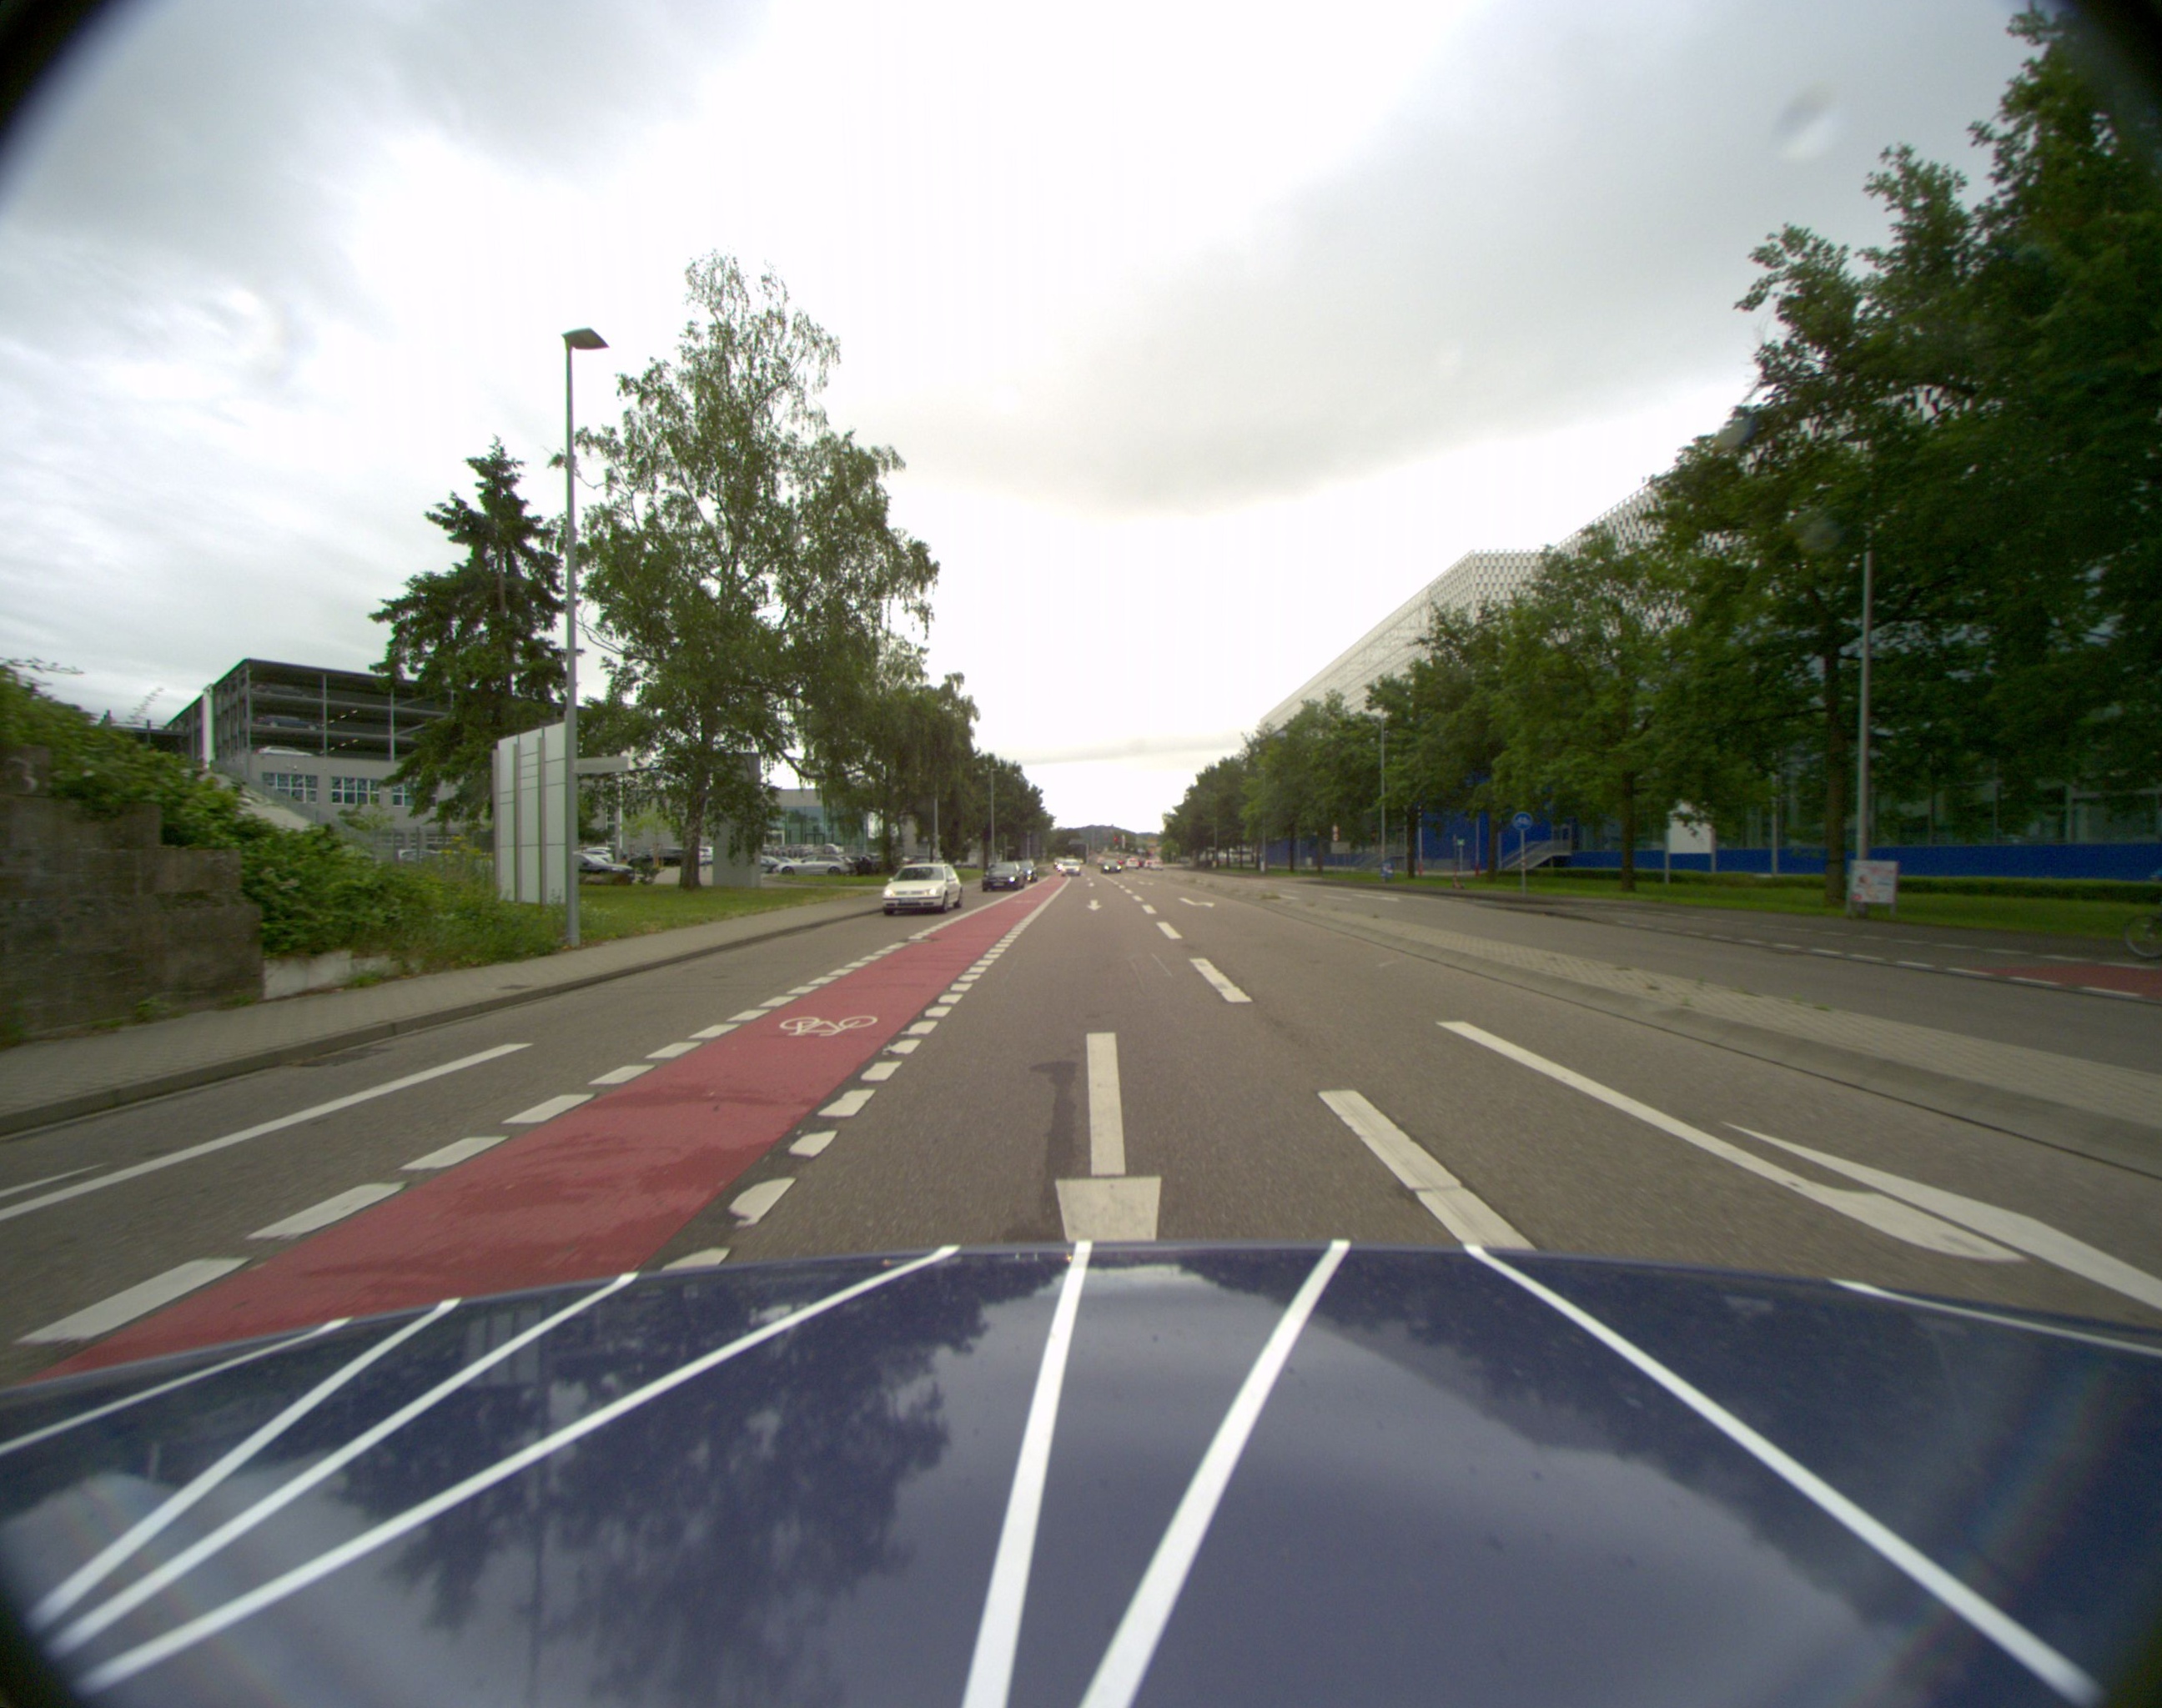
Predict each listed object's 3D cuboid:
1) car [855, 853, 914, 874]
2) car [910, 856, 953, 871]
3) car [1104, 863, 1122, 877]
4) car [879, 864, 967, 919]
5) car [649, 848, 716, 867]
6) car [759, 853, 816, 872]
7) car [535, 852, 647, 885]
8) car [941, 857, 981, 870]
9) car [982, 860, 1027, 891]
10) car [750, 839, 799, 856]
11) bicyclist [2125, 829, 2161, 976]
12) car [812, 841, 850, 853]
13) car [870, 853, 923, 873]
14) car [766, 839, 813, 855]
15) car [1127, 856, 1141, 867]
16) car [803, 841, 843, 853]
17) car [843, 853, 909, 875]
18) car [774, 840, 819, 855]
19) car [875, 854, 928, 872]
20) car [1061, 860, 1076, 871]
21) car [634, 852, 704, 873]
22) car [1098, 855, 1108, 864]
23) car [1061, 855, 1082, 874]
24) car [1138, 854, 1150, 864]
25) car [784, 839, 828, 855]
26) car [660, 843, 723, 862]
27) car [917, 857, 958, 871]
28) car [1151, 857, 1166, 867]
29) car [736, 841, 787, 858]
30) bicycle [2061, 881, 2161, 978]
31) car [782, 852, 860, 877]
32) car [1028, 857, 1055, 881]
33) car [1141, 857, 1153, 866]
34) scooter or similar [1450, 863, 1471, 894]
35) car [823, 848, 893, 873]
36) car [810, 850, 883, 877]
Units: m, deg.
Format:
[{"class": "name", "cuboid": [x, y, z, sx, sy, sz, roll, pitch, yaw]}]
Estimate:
[{"class": "car", "cuboid": [-15.299, 0.735, 59.334, 4.004, 1.371, 1.811, -3, 0, 3]}, {"class": "car", "cuboid": [-15.930, 1.012, 81.305, 4.198, 1.423, 1.739, -3, 0, 0]}, {"class": "car", "cuboid": [3.407, 1.691, 81.268, 1.836, 1.415, 4.000, -1, 0, 1]}, {"class": "car", "cuboid": [-4.558, 1.032, 22.496, 1.726, 1.415, 3.941, -1, 0, 1]}, {"class": "car", "cuboid": [-31.932, 0.251, 60.941, 4.309, 1.282, 1.832, -3, 0, -1]}, {"class": "car", "cuboid": [-26.038, 0.770, 67.472, 4.308, 1.616, 1.903, -1, -2, 0]}, {"class": "car", "cuboid": [-24.563, 0.719, 38.247, 4.310, 1.579, 1.968, 1, 0, -5]}, {"class": "car", "cuboid": [-15.610, 1.283, 98.871, 4.763, 1.416, 1.902, -3, 0, 0]}, {"class": "car", "cuboid": [-3.801, 1.047, 38.409, 1.836, 1.415, 4.000, -1, 0, 1]}, {"class": "car", "cuboid": [-32.013, -0.639, 79.427, 4.309, 1.516, 1.832, -3, 0, -1]}, {"class": "bicyclist", "cuboid": [14.095, 0.615, 9.487, 0.703, 1.863, 1.020, -2, 1, 1]}, {"class": "car", "cuboid": [-32.157, -0.905, 97.809, 4.309, 1.355, 1.832, -3, 0, -1]}, {"class": "car", "cuboid": [-15.081, 0.766, 62.222, 3.761, 1.415, 1.953, -3, 0, -1]}, {"class": "car", "cuboid": [-31.472, -0.728, 82.022, 4.309, 1.503, 1.832, -3, 0, -1]}, {"class": "car", "cuboid": [8.103, 1.142, 116.190, 1.822, 1.577, 4.513, 2, -1, 0]}, {"class": "car", "cuboid": [-32.249, -0.862, 95.032, 4.309, 1.355, 1.832, -3, 0, -1]}, {"class": "car", "cuboid": [-15.359, 0.756, 57.014, 4.308, 1.374, 1.902, -3, 0, 2]}, {"class": "car", "cuboid": [-31.601, -0.732, 84.467, 4.309, 1.424, 1.864, -3, 0, -1]}, {"class": "car", "cuboid": [-15.342, 0.738, 64.937, 4.002, 1.345, 1.902, -3, 0, 2]}, {"class": "car", "cuboid": [-1.649, 1.489, 99.726, 1.836, 1.415, 4.000, -1, 0, 1]}, {"class": "car", "cuboid": [-31.806, 0.630, 58.689, 4.309, 1.365, 1.832, -3, 0, -1]}, {"class": "car", "cuboid": [4.793, 1.176, 166.510, 1.651, 1.787, 3.979, 1, -1, -6]}, {"class": "car", "cuboid": [-1.009, 1.023, 75.577, 1.995, 1.838, 4.103, 0, 0, -2]}, {"class": "car", "cuboid": [11.746, 0.937, 141.976, 1.771, 1.913, 4.909, 1, 0, 0]}, {"class": "car", "cuboid": [-31.518, -0.824, 87.141, 4.307, 1.582, 1.896, -3, 0, 2]}, {"class": "car", "cuboid": [-32.104, -0.121, 62.702, 4.309, 1.374, 1.700, -3, 0, -1]}, {"class": "car", "cuboid": [-15.820, 1.089, 83.726, 4.056, 1.369, 1.795, -3, 0, 1]}, {"class": "car", "cuboid": [11.554, 1.221, 112.846, 1.681, 1.420, 3.650, 1, 0, -2]}, {"class": "car", "cuboid": [-32.142, -0.468, 76.516, 4.309, 1.518, 1.859, -3, 0, -1]}, {"class": "bicycle", "cuboid": [14.106, 0.986, 9.486, 0.714, 1.180, 2.370, -2, 1, 1]}, {"class": "car", "cuboid": [-16.258, 0.655, 47.709, 4.310, 1.480, 1.739, -1, 0, -5]}, {"class": "car", "cuboid": [-2.788, 1.001, 53.015, 1.788, 1.637, 3.998, 0, 0, -5]}, {"class": "car", "cuboid": [10.728, 1.285, 124.077, 1.628, 1.414, 3.611, 1, 0, 0]}, {"class": "scooter or similar", "cuboid": [17.007, 1.084, 34.047, 0.448, 1.314, 1.506, 0, 0, 10]}, {"class": "car", "cuboid": [-15.957, 0.456, 54.480, 4.308, 1.591, 1.969, -3, 0, 2]}, {"class": "car", "cuboid": [-15.886, 0.660, 51.701, 4.309, 1.591, 1.969, -3, 0, -2]}]
